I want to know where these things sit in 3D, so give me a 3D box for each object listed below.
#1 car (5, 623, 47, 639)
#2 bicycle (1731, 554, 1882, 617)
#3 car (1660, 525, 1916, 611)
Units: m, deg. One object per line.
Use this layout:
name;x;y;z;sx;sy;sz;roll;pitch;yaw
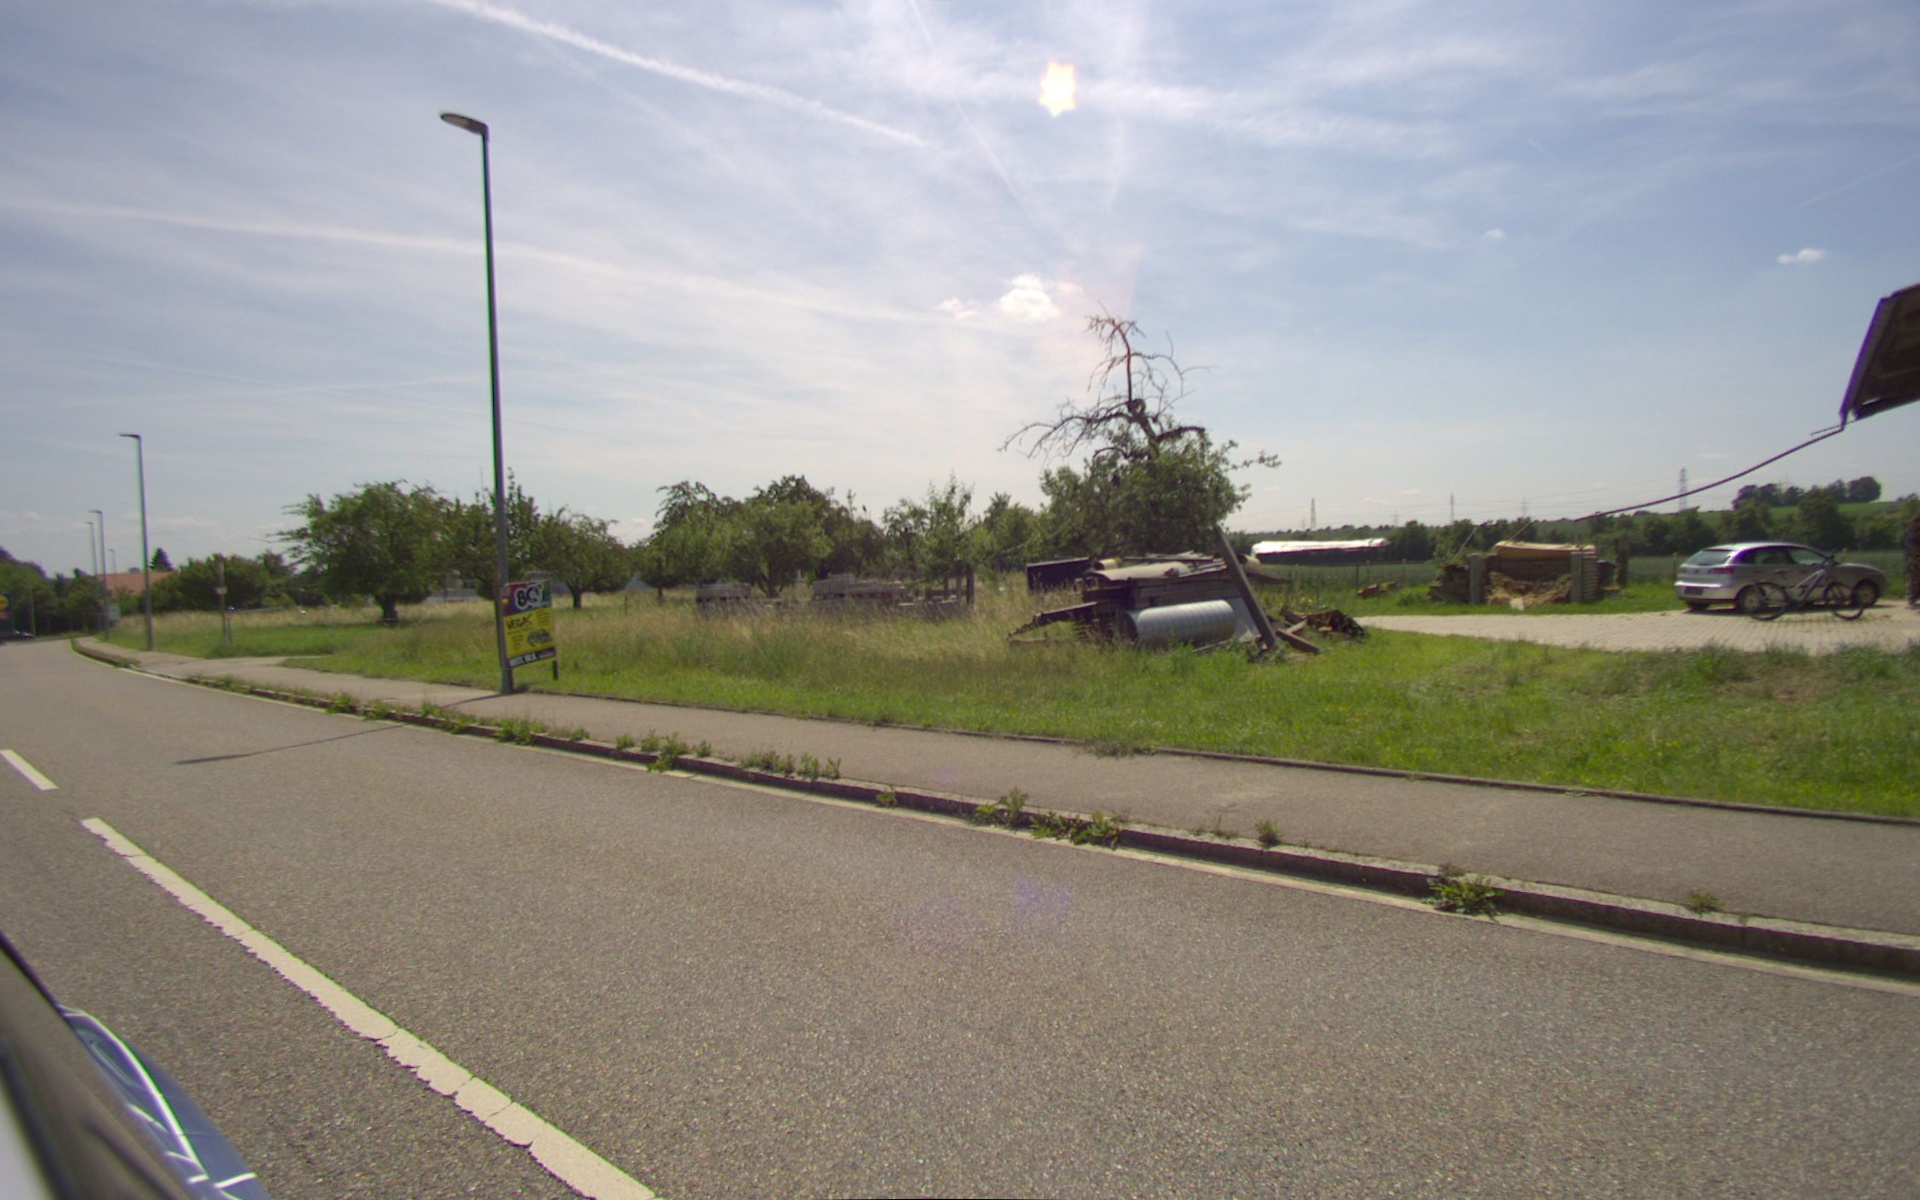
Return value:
car;-143.869;4.779;155.916;2.001;2.028;4.633;-1;2;45
bicycle;15.842;-0.259;18.988;2.111;1.086;0.822;-1;2;42
car;17.593;-0.681;21.635;3.944;1.530;1.795;-3;2;0
